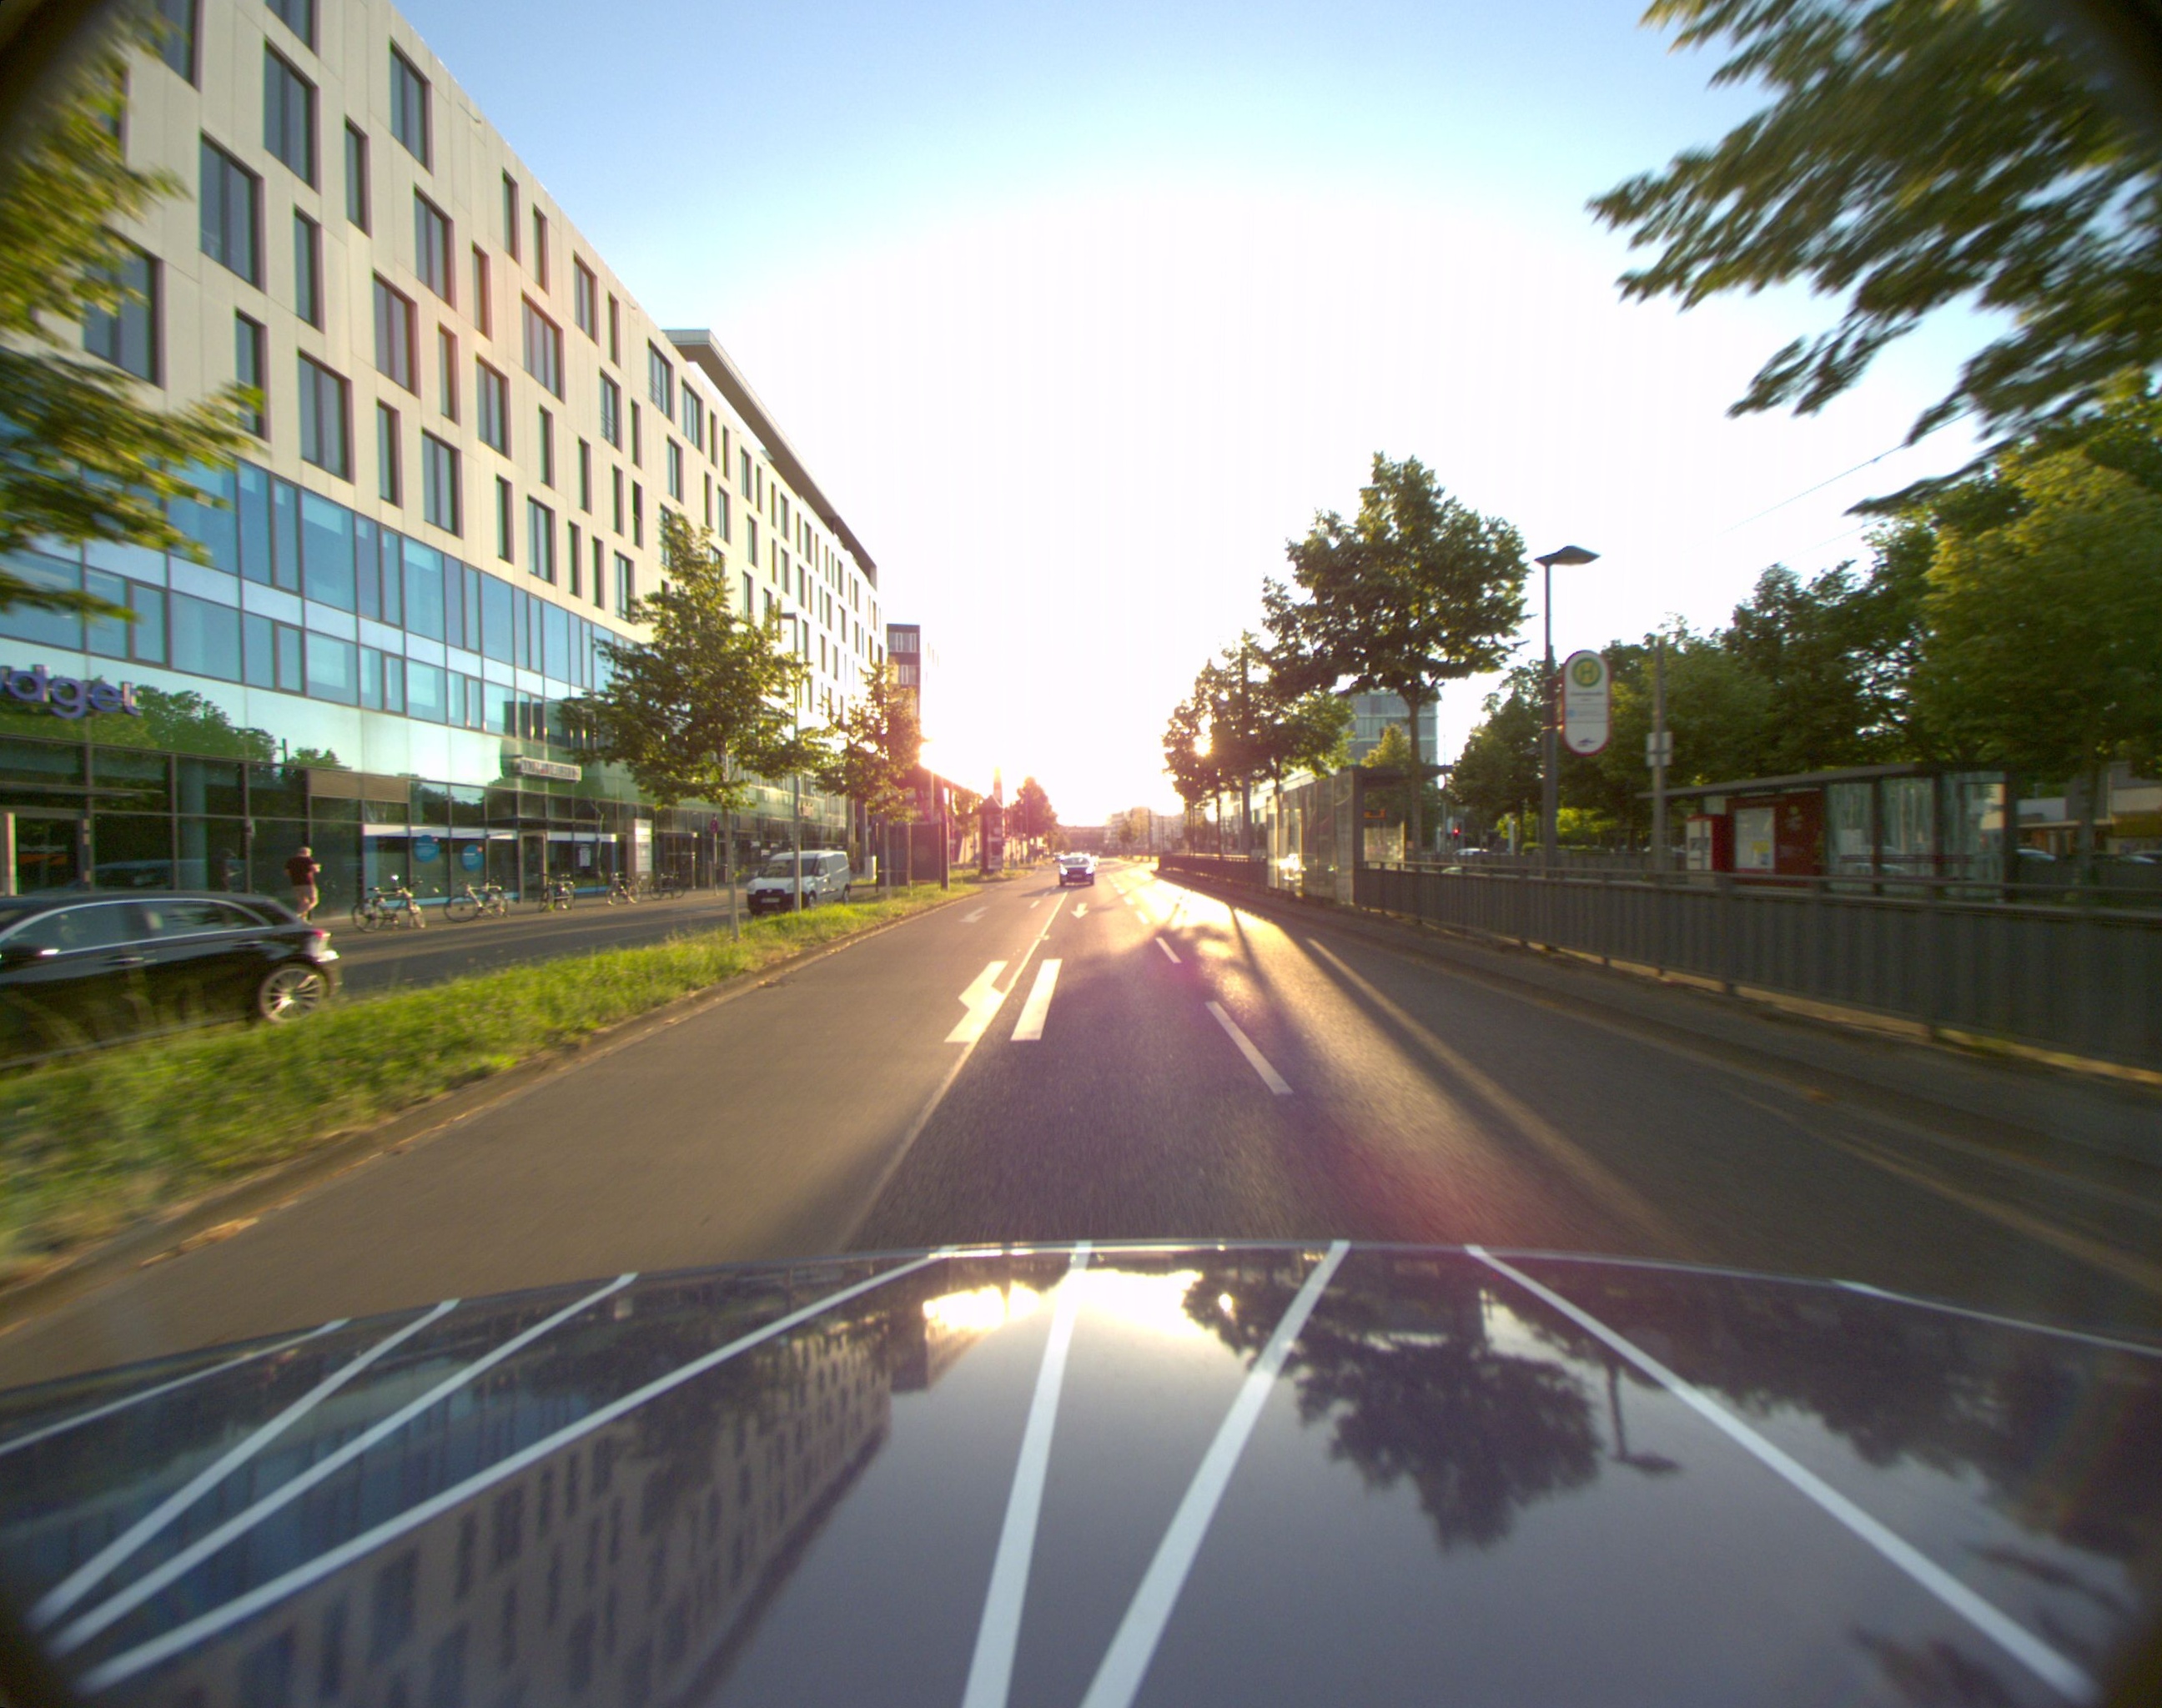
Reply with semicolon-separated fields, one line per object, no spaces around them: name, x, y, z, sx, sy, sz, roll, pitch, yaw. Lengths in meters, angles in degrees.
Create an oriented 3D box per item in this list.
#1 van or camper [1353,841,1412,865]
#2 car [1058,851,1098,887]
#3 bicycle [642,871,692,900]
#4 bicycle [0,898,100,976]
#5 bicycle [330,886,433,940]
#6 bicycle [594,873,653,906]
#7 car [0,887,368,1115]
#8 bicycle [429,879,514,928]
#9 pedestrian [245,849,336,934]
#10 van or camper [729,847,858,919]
van or camper;29.158;-0.097;73.548;4.884;2.002;2.000;-2;1;2
car;-0.130;0.703;37.784;1.828;1.625;4.000;-1;0;0
bicycle;-15.533;1.164;28.557;0.530;1.034;1.877;1;0;12
bicycle;-15.761;1.217;10.990;0.598;1.034;2.072;1;0;-6
bicycle;-15.547;1.278;16.963;0.531;1.034;2.072;1;0;-5
bicycle;-15.437;1.186;25.683;0.530;1.034;1.919;1;0;12
car;-8.604;1.127;5.926;1.813;1.492;4.479;-1;0;0
bicycle;-15.561;1.236;19.478;0.388;1.102;2.147;2;1;1
pedestrian;-17.947;0.833;17.273;1.029;1.872;0.947;-1;1;0
van or camper;-8.645;0.804;23.425;1.963;1.908;4.830;-3;0;1
